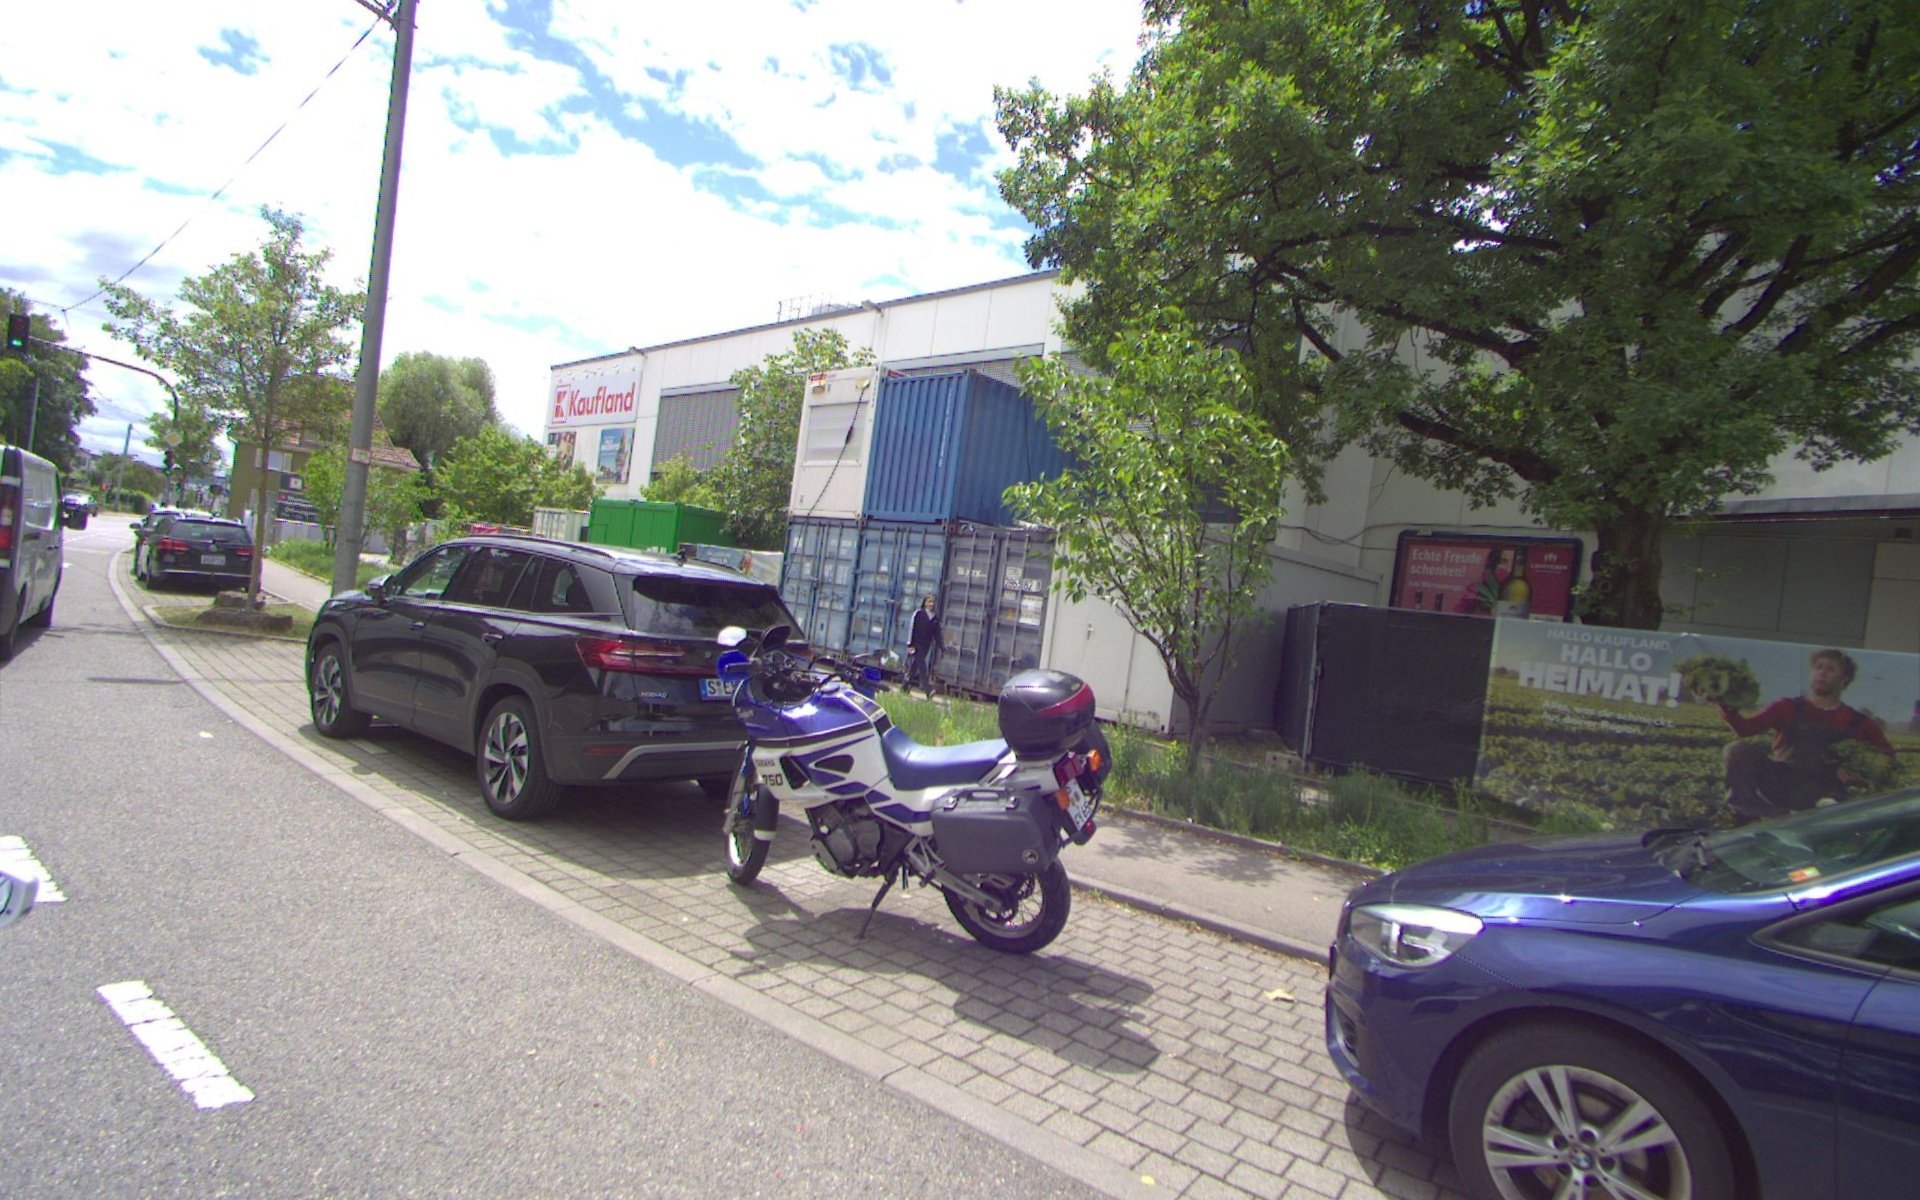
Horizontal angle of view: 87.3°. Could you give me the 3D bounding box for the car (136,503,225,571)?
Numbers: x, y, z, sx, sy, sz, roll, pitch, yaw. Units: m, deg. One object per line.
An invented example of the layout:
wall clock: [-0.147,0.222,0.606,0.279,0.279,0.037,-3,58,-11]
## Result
car: [-22.247,-1.827,28.636,1.729,1.637,4.336,4,1,-41]

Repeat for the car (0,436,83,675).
car: [-10.135,-0.647,9.790,1.931,1.983,4.782,10,-2,-38]

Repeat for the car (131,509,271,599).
car: [-15.573,-0.994,20.531,1.757,1.496,4.875,4,2,-43]

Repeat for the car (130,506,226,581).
car: [-18.872,-1.388,24.225,1.561,1.512,3.954,6,0,-41]

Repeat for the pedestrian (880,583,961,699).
pedestrian: [-0.607,0.627,15.358,0.740,1.637,0.758,7,0,-44]

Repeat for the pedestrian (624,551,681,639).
pedestrian: [-6.467,-0.109,21.144,0.650,1.718,0.834,7,0,-44]

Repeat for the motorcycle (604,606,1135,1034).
motorcycle: [-0.492,0.816,4.672,2.226,1.323,1.070,7,2,37]

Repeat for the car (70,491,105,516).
car: [-67.262,-7.450,77.582,1.825,1.637,4.105,6,1,-40]

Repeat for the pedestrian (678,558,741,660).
pedestrian: [-4.497,0.153,18.049,0.649,1.717,0.716,7,0,-44]

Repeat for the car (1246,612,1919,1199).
car: [3.256,1.091,2.552,4.361,1.598,1.916,7,1,36]

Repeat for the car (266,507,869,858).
car: [-3.097,0.346,7.327,4.775,1.642,1.877,7,1,39]
